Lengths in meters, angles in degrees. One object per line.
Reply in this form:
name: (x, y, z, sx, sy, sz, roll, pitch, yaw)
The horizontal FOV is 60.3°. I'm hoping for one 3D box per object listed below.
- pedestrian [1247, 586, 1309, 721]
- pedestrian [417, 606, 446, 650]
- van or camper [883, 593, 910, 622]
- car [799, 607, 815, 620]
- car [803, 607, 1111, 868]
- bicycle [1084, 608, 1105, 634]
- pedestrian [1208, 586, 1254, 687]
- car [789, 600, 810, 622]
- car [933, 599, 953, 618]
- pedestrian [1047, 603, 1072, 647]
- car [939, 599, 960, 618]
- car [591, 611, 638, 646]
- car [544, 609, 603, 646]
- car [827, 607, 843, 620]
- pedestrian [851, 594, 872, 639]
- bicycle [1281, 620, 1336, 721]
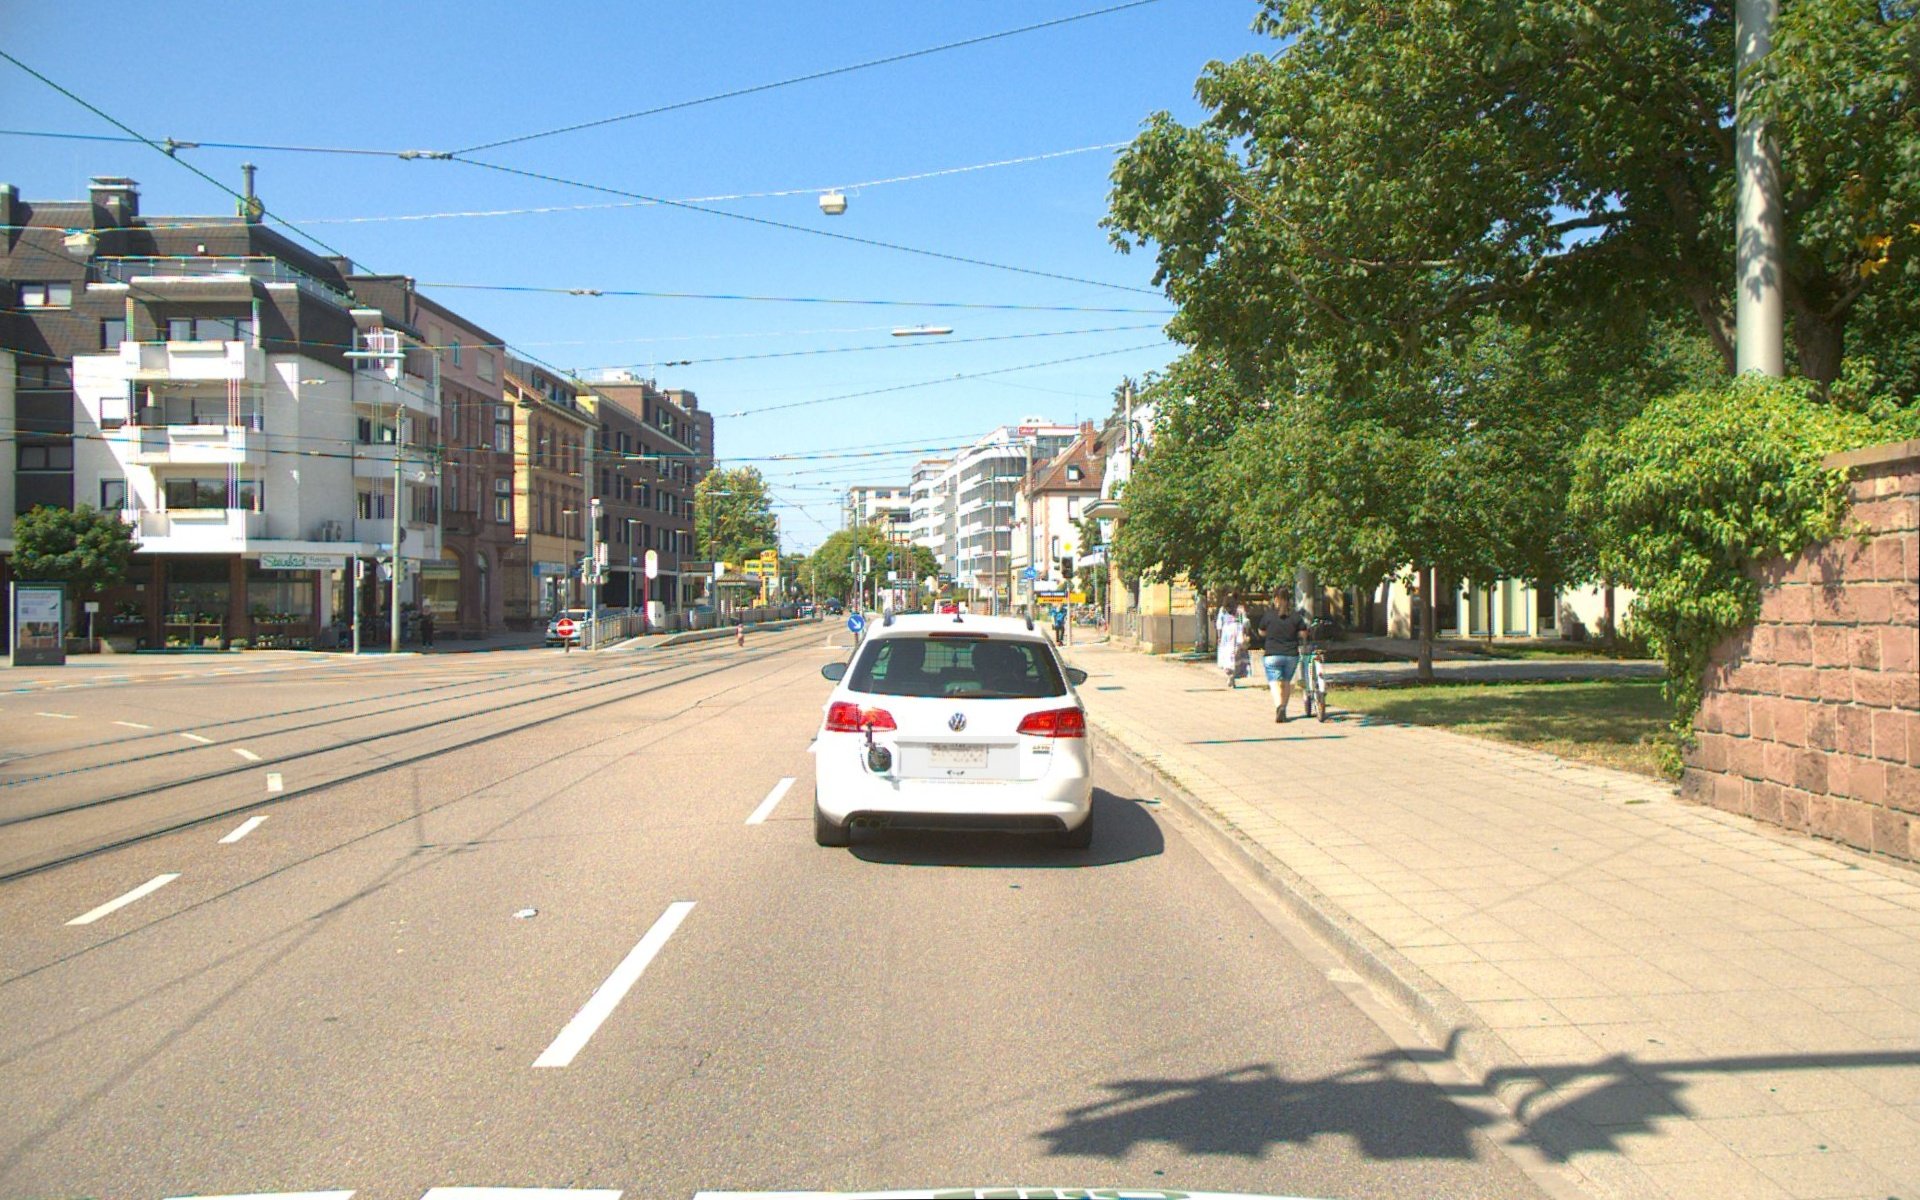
pedestrian: (3.817, 0.634, 19.878, 0.529, 1.576, 0.663, -3, 0, -1)
pedestrian: (-20.293, 1.068, 63.474, 0.862, 1.676, 0.679, -1, 0, 33)
van or camper: (-7.143, 0.843, 186.690, 2.884, 3.235, 6.611, -1, 0, -2)
car: (-18.629, 1.649, 201.948, 1.634, 1.492, 3.772, -1, 0, -1)
car: (-0.016, 0.782, 11.258, 1.717, 1.442, 3.852, -1, 0, 0)
bicycle: (6.345, 0.988, 77.863, 0.710, 1.159, 2.196, -1, 0, 12)
pedestrian: (4.682, 0.628, 28.601, 0.637, 1.711, 0.707, -1, 0, -1)
car: (-15.703, 1.053, 162.086, 1.955, 2.049, 3.995, -2, -1, -5)
car: (-1.872, 0.945, 185.300, 1.954, 2.049, 3.996, -1, 0, -5)
pedestrian: (3.597, 0.900, 59.741, 0.837, 1.536, 0.782, -1, 0, 8)
car: (-1.118, 0.911, 179.891, 1.954, 2.049, 3.996, -1, 0, -5)
car: (-15.752, 1.276, 75.588, 1.541, 1.484, 3.811, -1, 0, -4)
car: (-15.835, 1.108, 67.885, 1.593, 1.456, 3.961, 0, 0, -2)
car: (-15.472, 1.676, 204.805, 1.634, 1.492, 3.772, -1, 0, -1)
pedestrian: (-4.071, 0.671, 68.341, 0.809, 1.841, 0.833, -1, 0, 0)
bicycle: (4.148, 0.819, 19.742, 0.524, 1.131, 1.808, -2, -1, 9)
